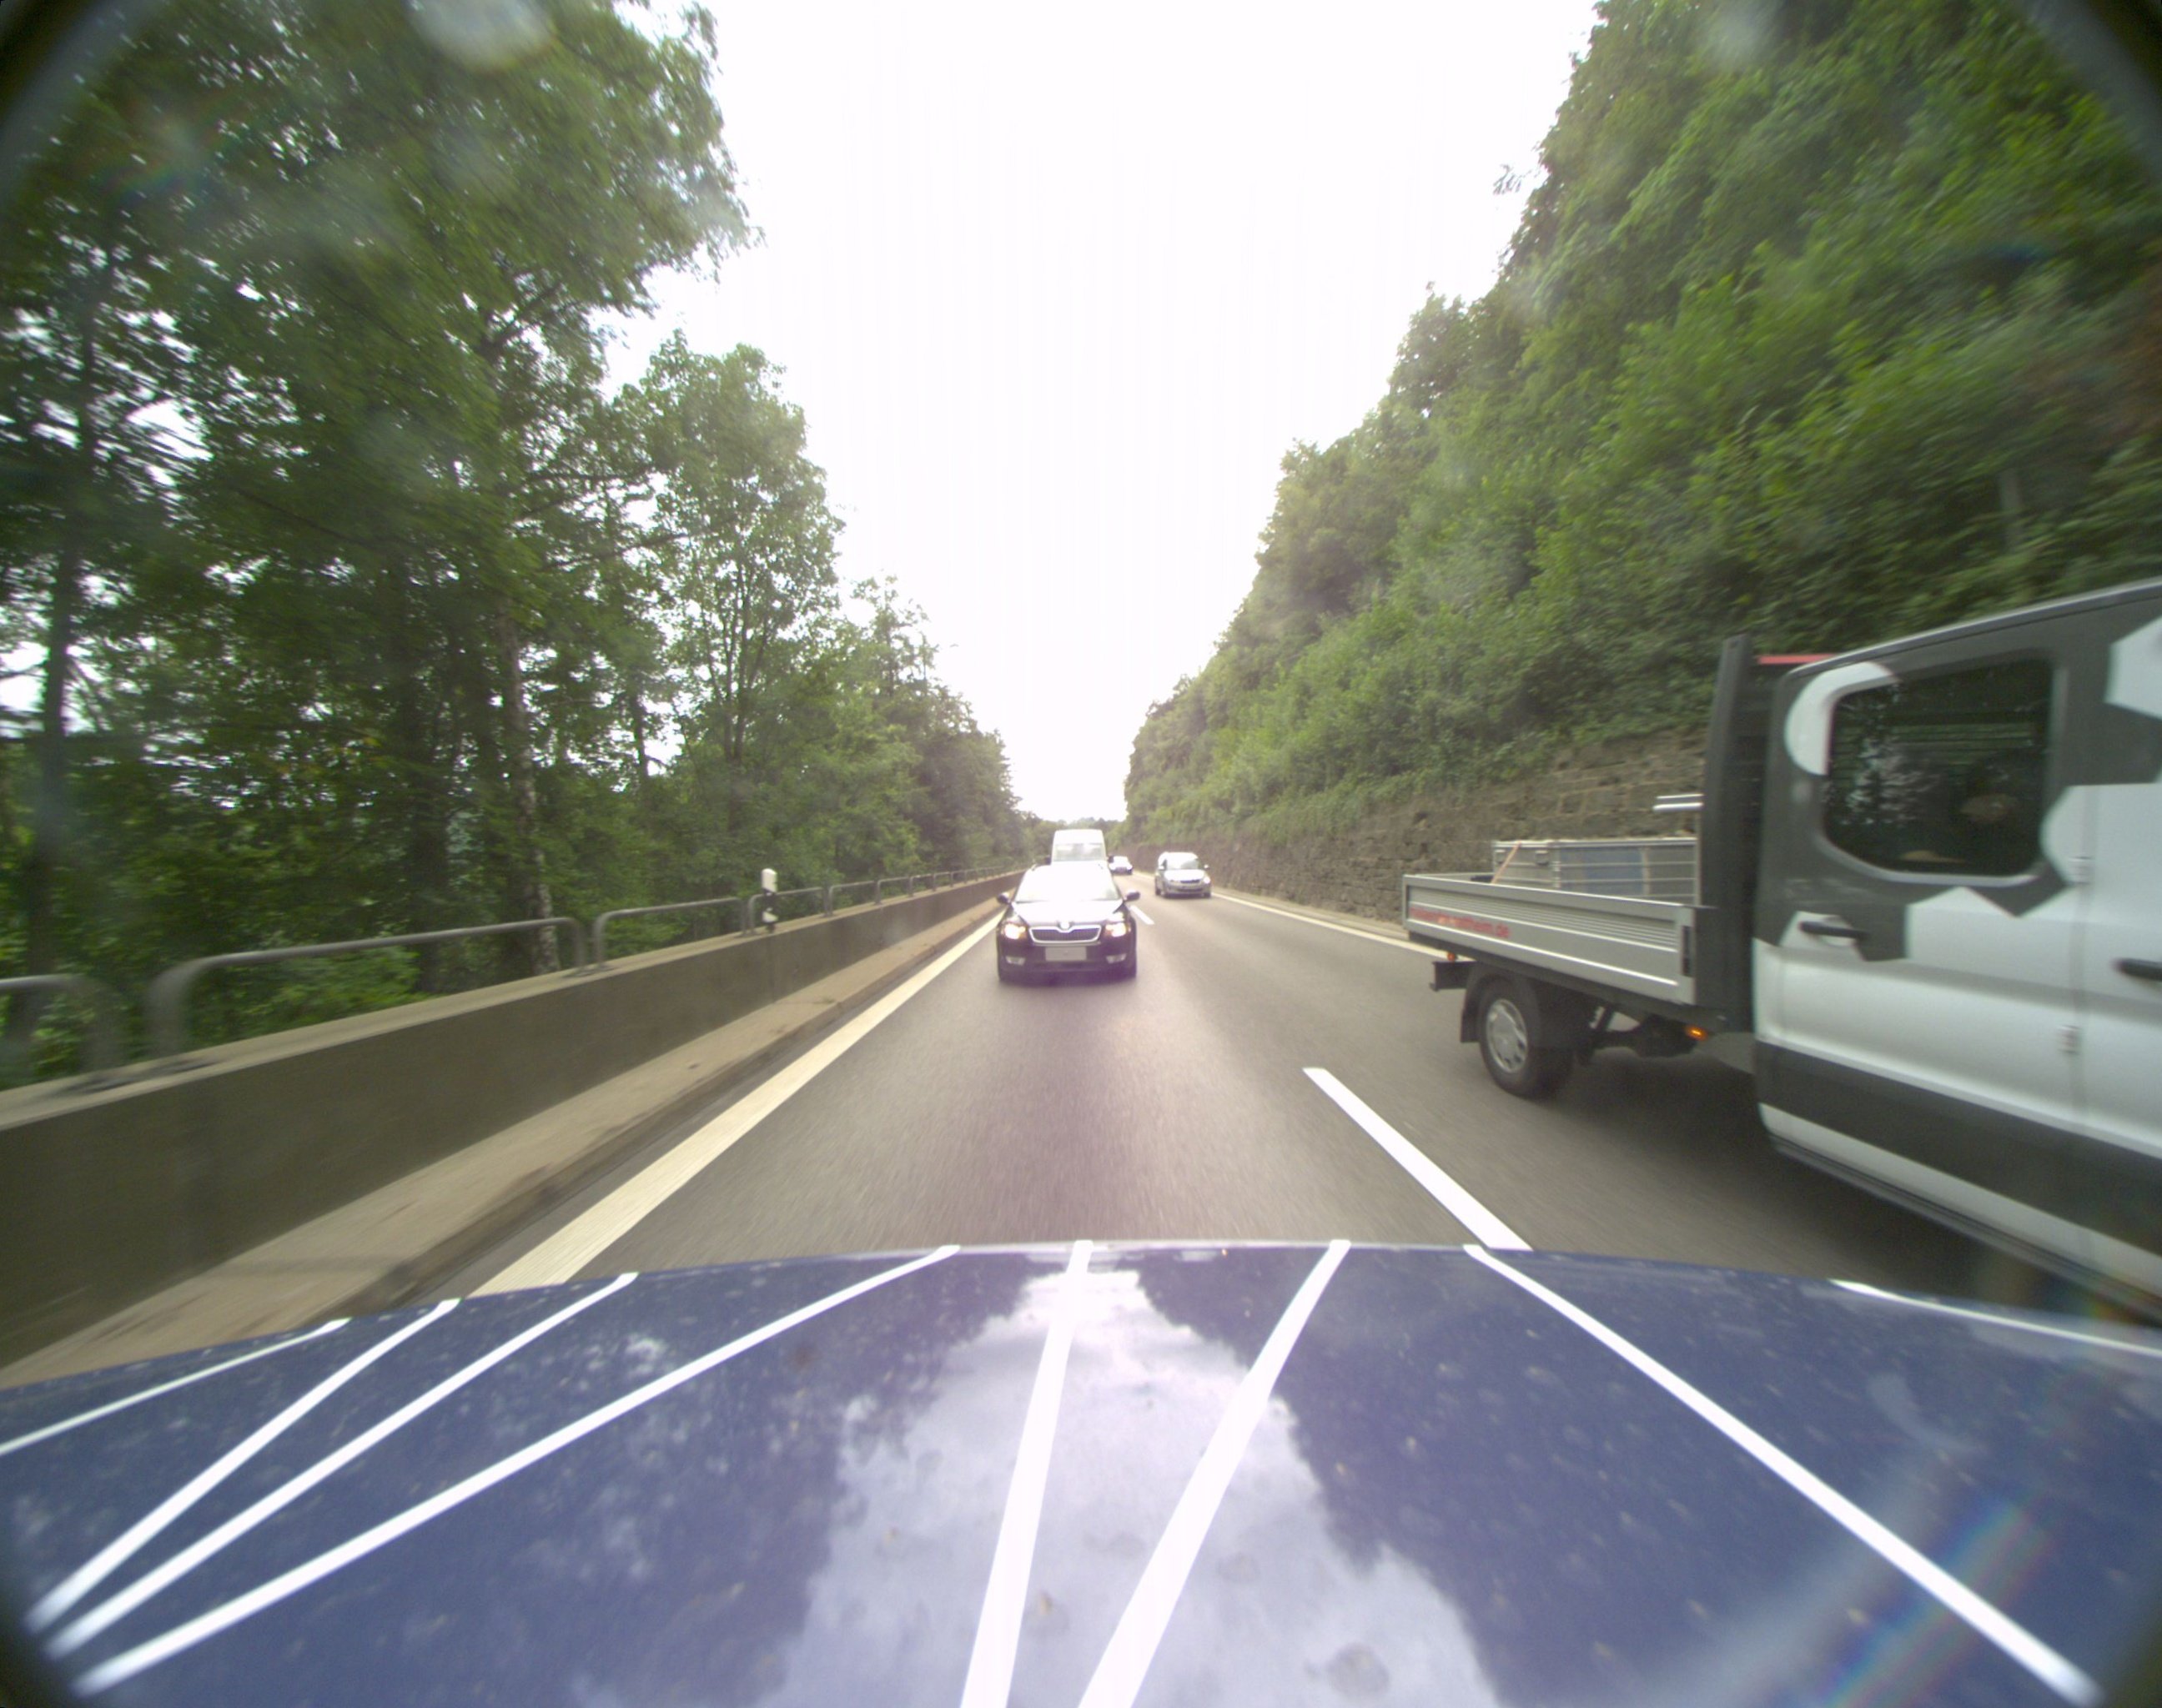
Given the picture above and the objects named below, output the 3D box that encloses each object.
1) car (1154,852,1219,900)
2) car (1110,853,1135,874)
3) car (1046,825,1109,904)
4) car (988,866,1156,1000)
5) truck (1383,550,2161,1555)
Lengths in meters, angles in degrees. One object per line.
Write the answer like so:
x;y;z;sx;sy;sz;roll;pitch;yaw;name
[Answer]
3.794;0.754;28.063;1.711;1.568;4.602;-2;0;0;car
3.372;0.729;62.320;1.711;1.568;4.602;-2;0;0;car
-0.019;0.312;27.597;1.998;2.550;5.918;-1;1;2;car
-0.197;0.965;11.749;1.913;1.391;5.695;-3;0;-2;car
3.415;0.427;2.674;1.999;2.266;6.585;-2;0;0;truck
